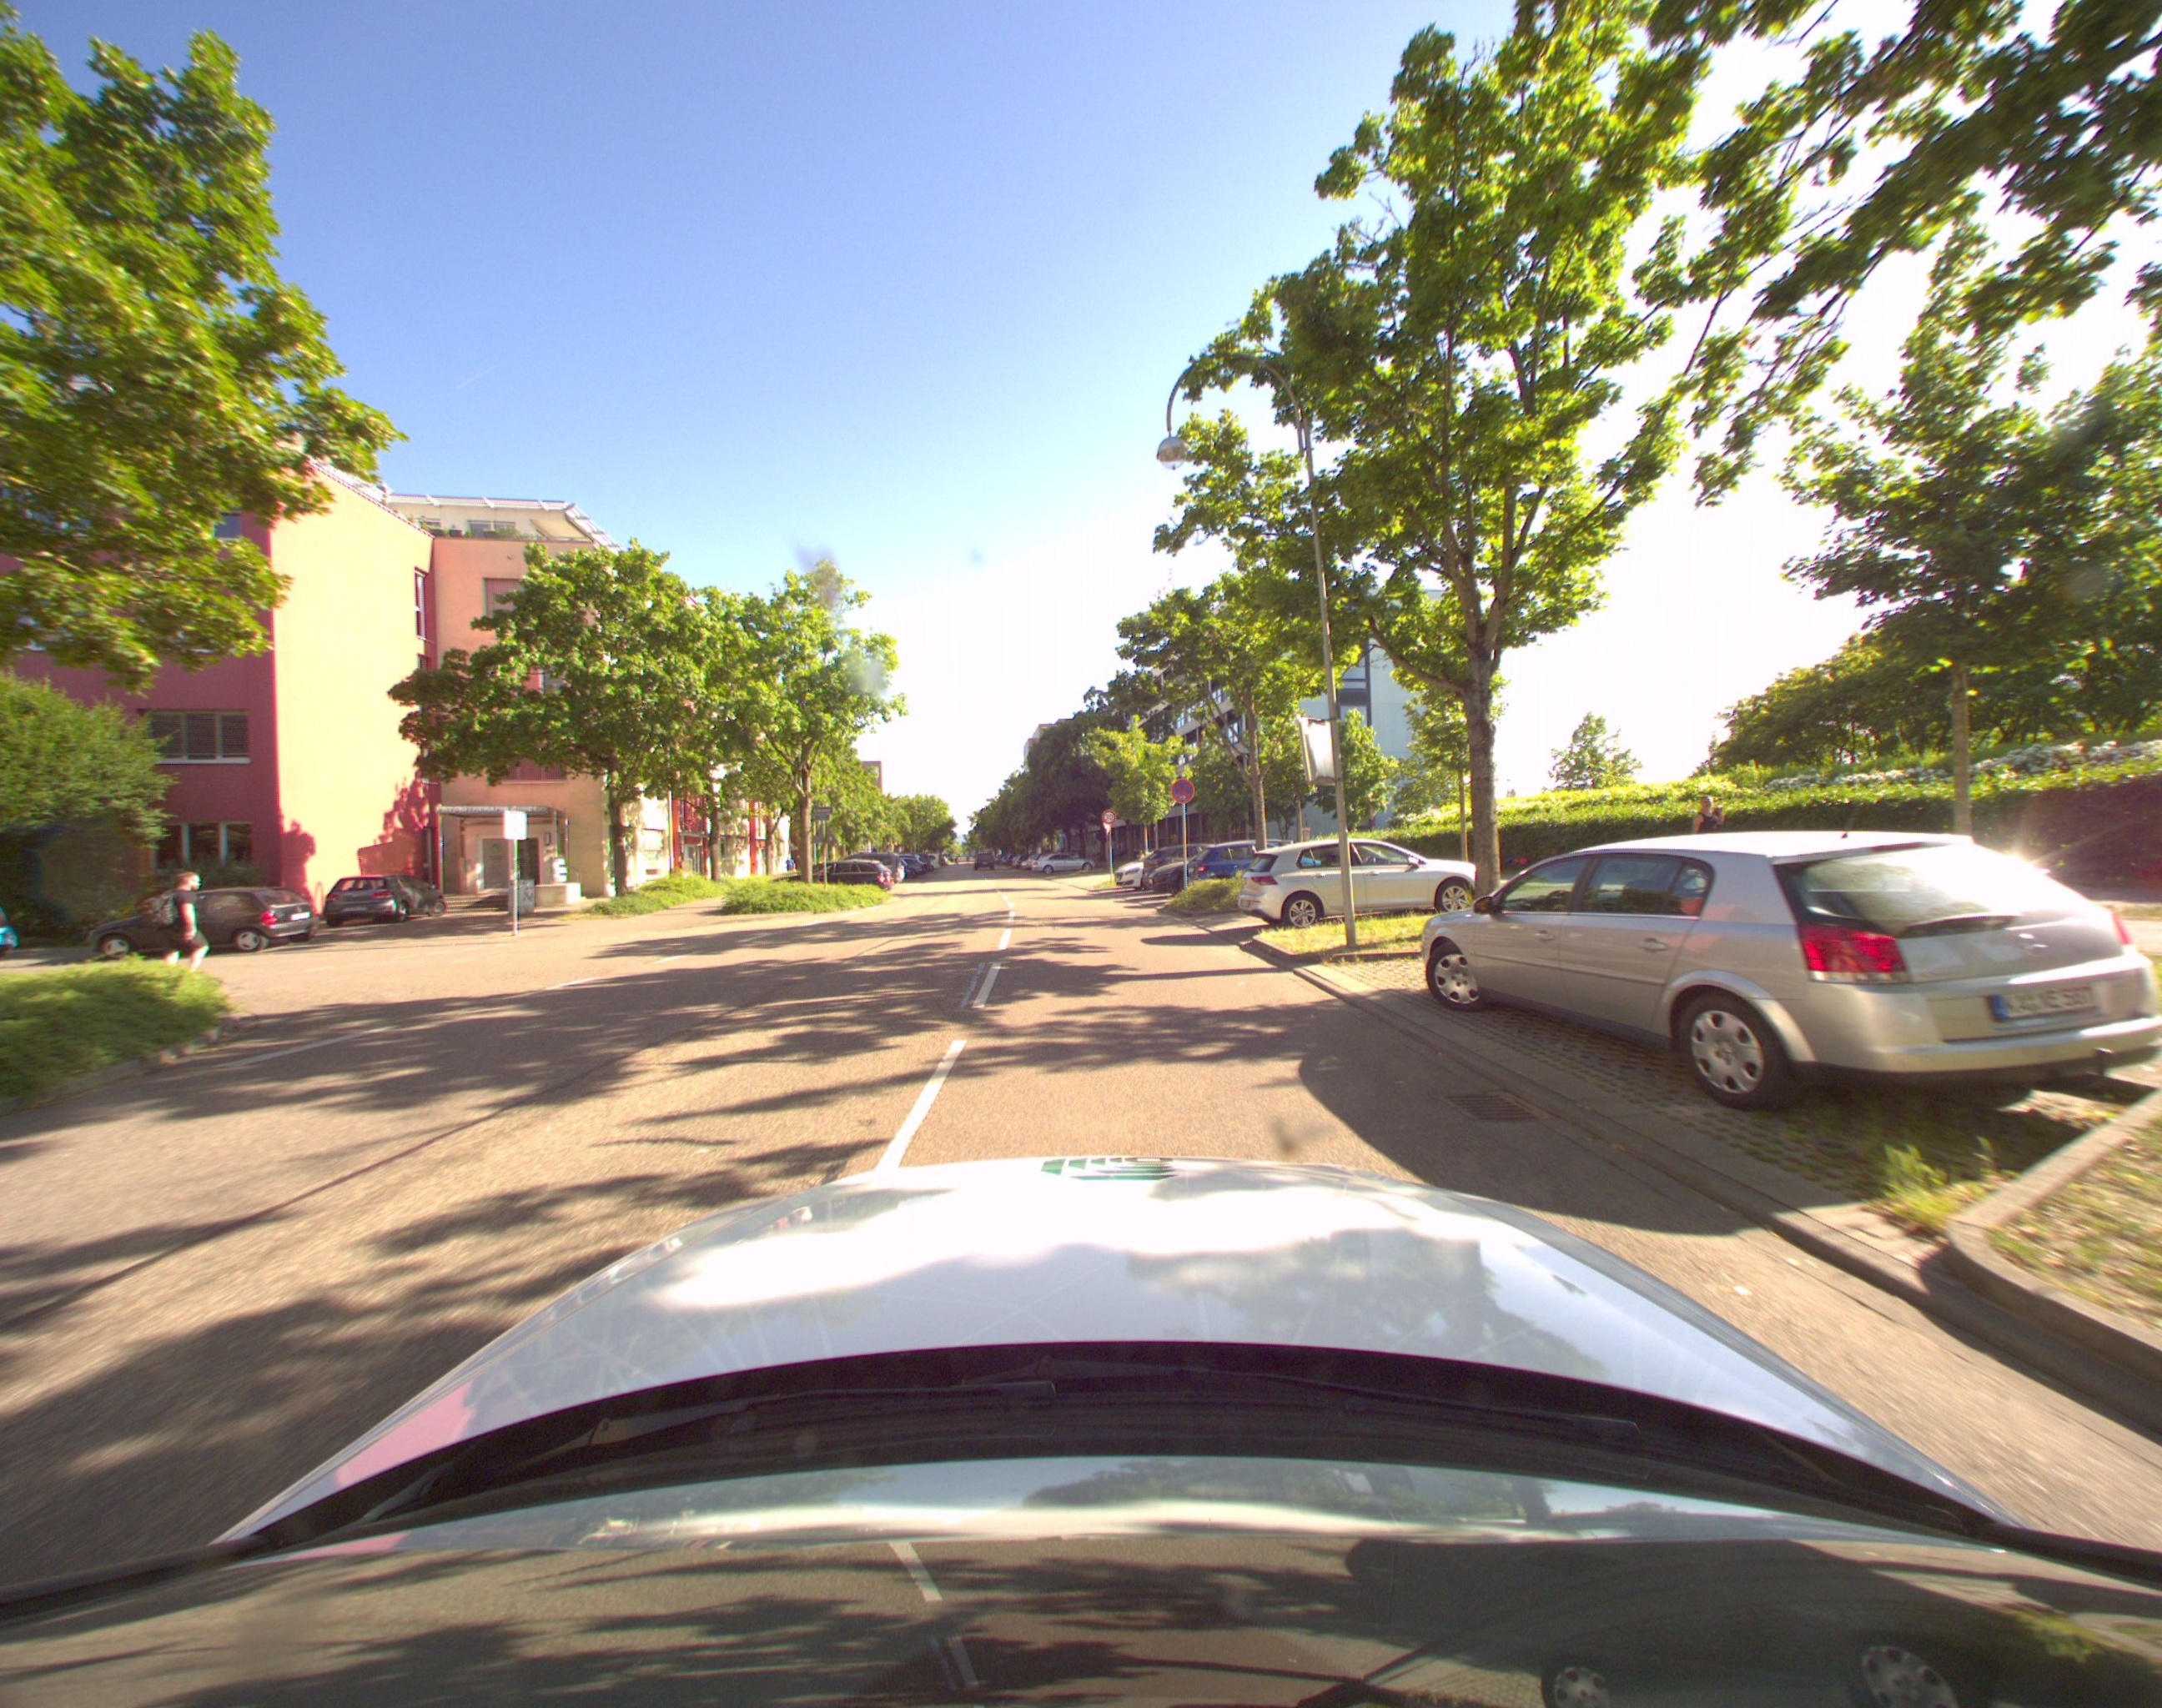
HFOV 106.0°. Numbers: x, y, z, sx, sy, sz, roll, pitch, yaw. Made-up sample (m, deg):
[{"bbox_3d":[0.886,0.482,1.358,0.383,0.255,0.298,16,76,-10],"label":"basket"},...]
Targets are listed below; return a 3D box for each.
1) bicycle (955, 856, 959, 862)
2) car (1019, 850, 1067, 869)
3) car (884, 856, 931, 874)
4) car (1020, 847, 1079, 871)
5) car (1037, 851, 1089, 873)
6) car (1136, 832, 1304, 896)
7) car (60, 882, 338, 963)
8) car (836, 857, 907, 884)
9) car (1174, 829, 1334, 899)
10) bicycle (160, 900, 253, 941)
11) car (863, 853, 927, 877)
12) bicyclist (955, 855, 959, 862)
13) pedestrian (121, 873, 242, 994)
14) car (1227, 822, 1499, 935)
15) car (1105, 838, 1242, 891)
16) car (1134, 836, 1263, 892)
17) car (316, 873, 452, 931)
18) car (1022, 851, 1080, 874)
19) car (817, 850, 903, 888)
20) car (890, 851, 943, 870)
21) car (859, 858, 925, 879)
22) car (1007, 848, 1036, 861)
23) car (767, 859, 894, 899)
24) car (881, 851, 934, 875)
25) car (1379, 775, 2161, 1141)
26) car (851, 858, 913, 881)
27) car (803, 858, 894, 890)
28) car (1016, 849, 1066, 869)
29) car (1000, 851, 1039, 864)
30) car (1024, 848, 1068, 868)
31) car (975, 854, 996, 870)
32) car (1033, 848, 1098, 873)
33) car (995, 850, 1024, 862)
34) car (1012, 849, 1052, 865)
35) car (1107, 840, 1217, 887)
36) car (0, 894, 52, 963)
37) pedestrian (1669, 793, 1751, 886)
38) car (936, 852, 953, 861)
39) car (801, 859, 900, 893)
[{"bbox_3d":[-22.580,0.862,148.557,0.531,1.072,1.297,-2,0,-6],"label":"bicycle"},{"bbox_3d":[-3.586,0.501,76.869,4.286,1.493,1.997,-4,0,-10],"label":"car"},{"bbox_3d":[-14.364,0.858,67.323,3.732,1.427,1.716,0,0,-15],"label":"car"},{"bbox_3d":[-2.553,0.385,64.907,4.508,1.542,1.918,-4,0,-5],"label":"car"},{"bbox_3d":[-1.421,0.594,62.553,3.832,1.447,1.918,-4,0,-5],"label":"car"},{"bbox_3d":[4.178,0.303,24.913,4.547,1.515,2.152,-5,0,-8],"label":"car"},{"bbox_3d":[-20.112,1.519,18.774,3.981,1.447,1.798,-2,3,-9],"label":"car"},{"bbox_3d":[-11.612,0.907,45.375,3.729,1.447,1.868,0,0,-12],"label":"car"},{"bbox_3d":[4.656,0.254,22.216,3.802,1.448,1.740,-6,0,-7],"label":"car"},{"bbox_3d":[-24.112,1.821,22.484,1.677,0.986,0.447,-2,0,-25],"label":"bicycle"},{"bbox_3d":[-13.738,0.830,60.201,4.312,1.717,1.960,0,0,-4],"label":"car"},{"bbox_3d":[-22.585,0.811,148.572,0.531,1.091,0.793,-2,0,-6],"label":"bicyclist"},{"bbox_3d":[-13.768,1.182,12.500,0.655,1.725,1.020,-3,0,-5],"label":"pedestrian"},{"bbox_3d":[4.802,0.397,14.233,4.079,1.429,1.641,-6,0,-2],"label":"car"},{"bbox_3d":[3.373,0.372,29.950,4.557,1.515,1.972,-5,0,-15],"label":"car"},{"bbox_3d":[3.910,0.330,27.446,3.874,1.515,1.746,-5,0,-8],"label":"car"},{"bbox_3d":[-21.220,1.385,25.005,1.739,1.443,4.105,-3,1,-20],"label":"car"},{"bbox_3d":[-2.491,0.710,67.713,4.520,1.542,1.913,-4,0,-13],"label":"car"},{"bbox_3d":[-10.854,0.736,40.293,3.890,1.811,1.780,0,0,-9],"label":"car"},{"bbox_3d":[-17.058,0.641,84.590,5.256,1.967,1.937,0,0,-9],"label":"car"},{"bbox_3d":[-13.323,0.986,57.624,4.404,1.427,1.766,0,0,-11],"label":"car"},{"bbox_3d":[-8.428,0.093,114.707,3.947,1.514,1.808,-4,0,-8],"label":"car"},{"bbox_3d":[-9.351,0.910,30.665,4.256,1.423,1.736,0,0,-5],"label":"car"},{"bbox_3d":[-15.890,0.797,74.720,4.483,2.090,2.078,0,0,-7],"label":"car"},{"bbox_3d":[4.154,0.447,5.969,1.806,1.493,4.615,-5,0,-5],"label":"car"},{"bbox_3d":[-12.764,0.994,52.528,3.726,1.427,1.835,0,0,-10],"label":"car"},{"bbox_3d":[-10.767,0.910,37.928,3.890,1.423,1.734,0,0,-9],"label":"car"},{"bbox_3d":[-3.884,0.472,79.293,4.590,1.493,1.757,-5,0,-9],"label":"car"},{"bbox_3d":[-8.039,0.423,106.293,4.827,1.420,2.024,-4,0,-11],"label":"car"},{"bbox_3d":[-3.238,0.357,74.534,3.747,1.493,1.610,-4,0,-13],"label":"car"},{"bbox_3d":[-10.021,0.813,85.350,1.993,1.640,3.988,0,0,-9],"label":"car"},{"bbox_3d":[-1.169,0.490,59.755,4.576,1.475,1.742,-4,0,-8],"label":"car"},{"bbox_3d":[-11.275,0.335,128.650,4.354,1.704,1.805,-4,0,-12],"label":"car"},{"bbox_3d":[-5.101,0.346,84.725,3.971,1.420,1.704,-4,0,-11],"label":"car"},{"bbox_3d":[3.225,0.369,32.561,3.955,1.515,1.693,-5,0,-15],"label":"car"},{"bbox_3d":[-26.109,1.788,17.883,3.994,1.450,1.931,-2,3,-9],"label":"car"},{"bbox_3d":[10.978,-0.245,14.234,0.606,1.542,0.935,-3,0,-7],"label":"pedestrian"},{"bbox_3d":[-35.344,0.626,210.628,3.980,2.013,1.997,-2,0,-5],"label":"car"},{"bbox_3d":[-9.957,0.932,35.431,3.890,1.423,1.734,0,0,-9],"label":"car"}]
